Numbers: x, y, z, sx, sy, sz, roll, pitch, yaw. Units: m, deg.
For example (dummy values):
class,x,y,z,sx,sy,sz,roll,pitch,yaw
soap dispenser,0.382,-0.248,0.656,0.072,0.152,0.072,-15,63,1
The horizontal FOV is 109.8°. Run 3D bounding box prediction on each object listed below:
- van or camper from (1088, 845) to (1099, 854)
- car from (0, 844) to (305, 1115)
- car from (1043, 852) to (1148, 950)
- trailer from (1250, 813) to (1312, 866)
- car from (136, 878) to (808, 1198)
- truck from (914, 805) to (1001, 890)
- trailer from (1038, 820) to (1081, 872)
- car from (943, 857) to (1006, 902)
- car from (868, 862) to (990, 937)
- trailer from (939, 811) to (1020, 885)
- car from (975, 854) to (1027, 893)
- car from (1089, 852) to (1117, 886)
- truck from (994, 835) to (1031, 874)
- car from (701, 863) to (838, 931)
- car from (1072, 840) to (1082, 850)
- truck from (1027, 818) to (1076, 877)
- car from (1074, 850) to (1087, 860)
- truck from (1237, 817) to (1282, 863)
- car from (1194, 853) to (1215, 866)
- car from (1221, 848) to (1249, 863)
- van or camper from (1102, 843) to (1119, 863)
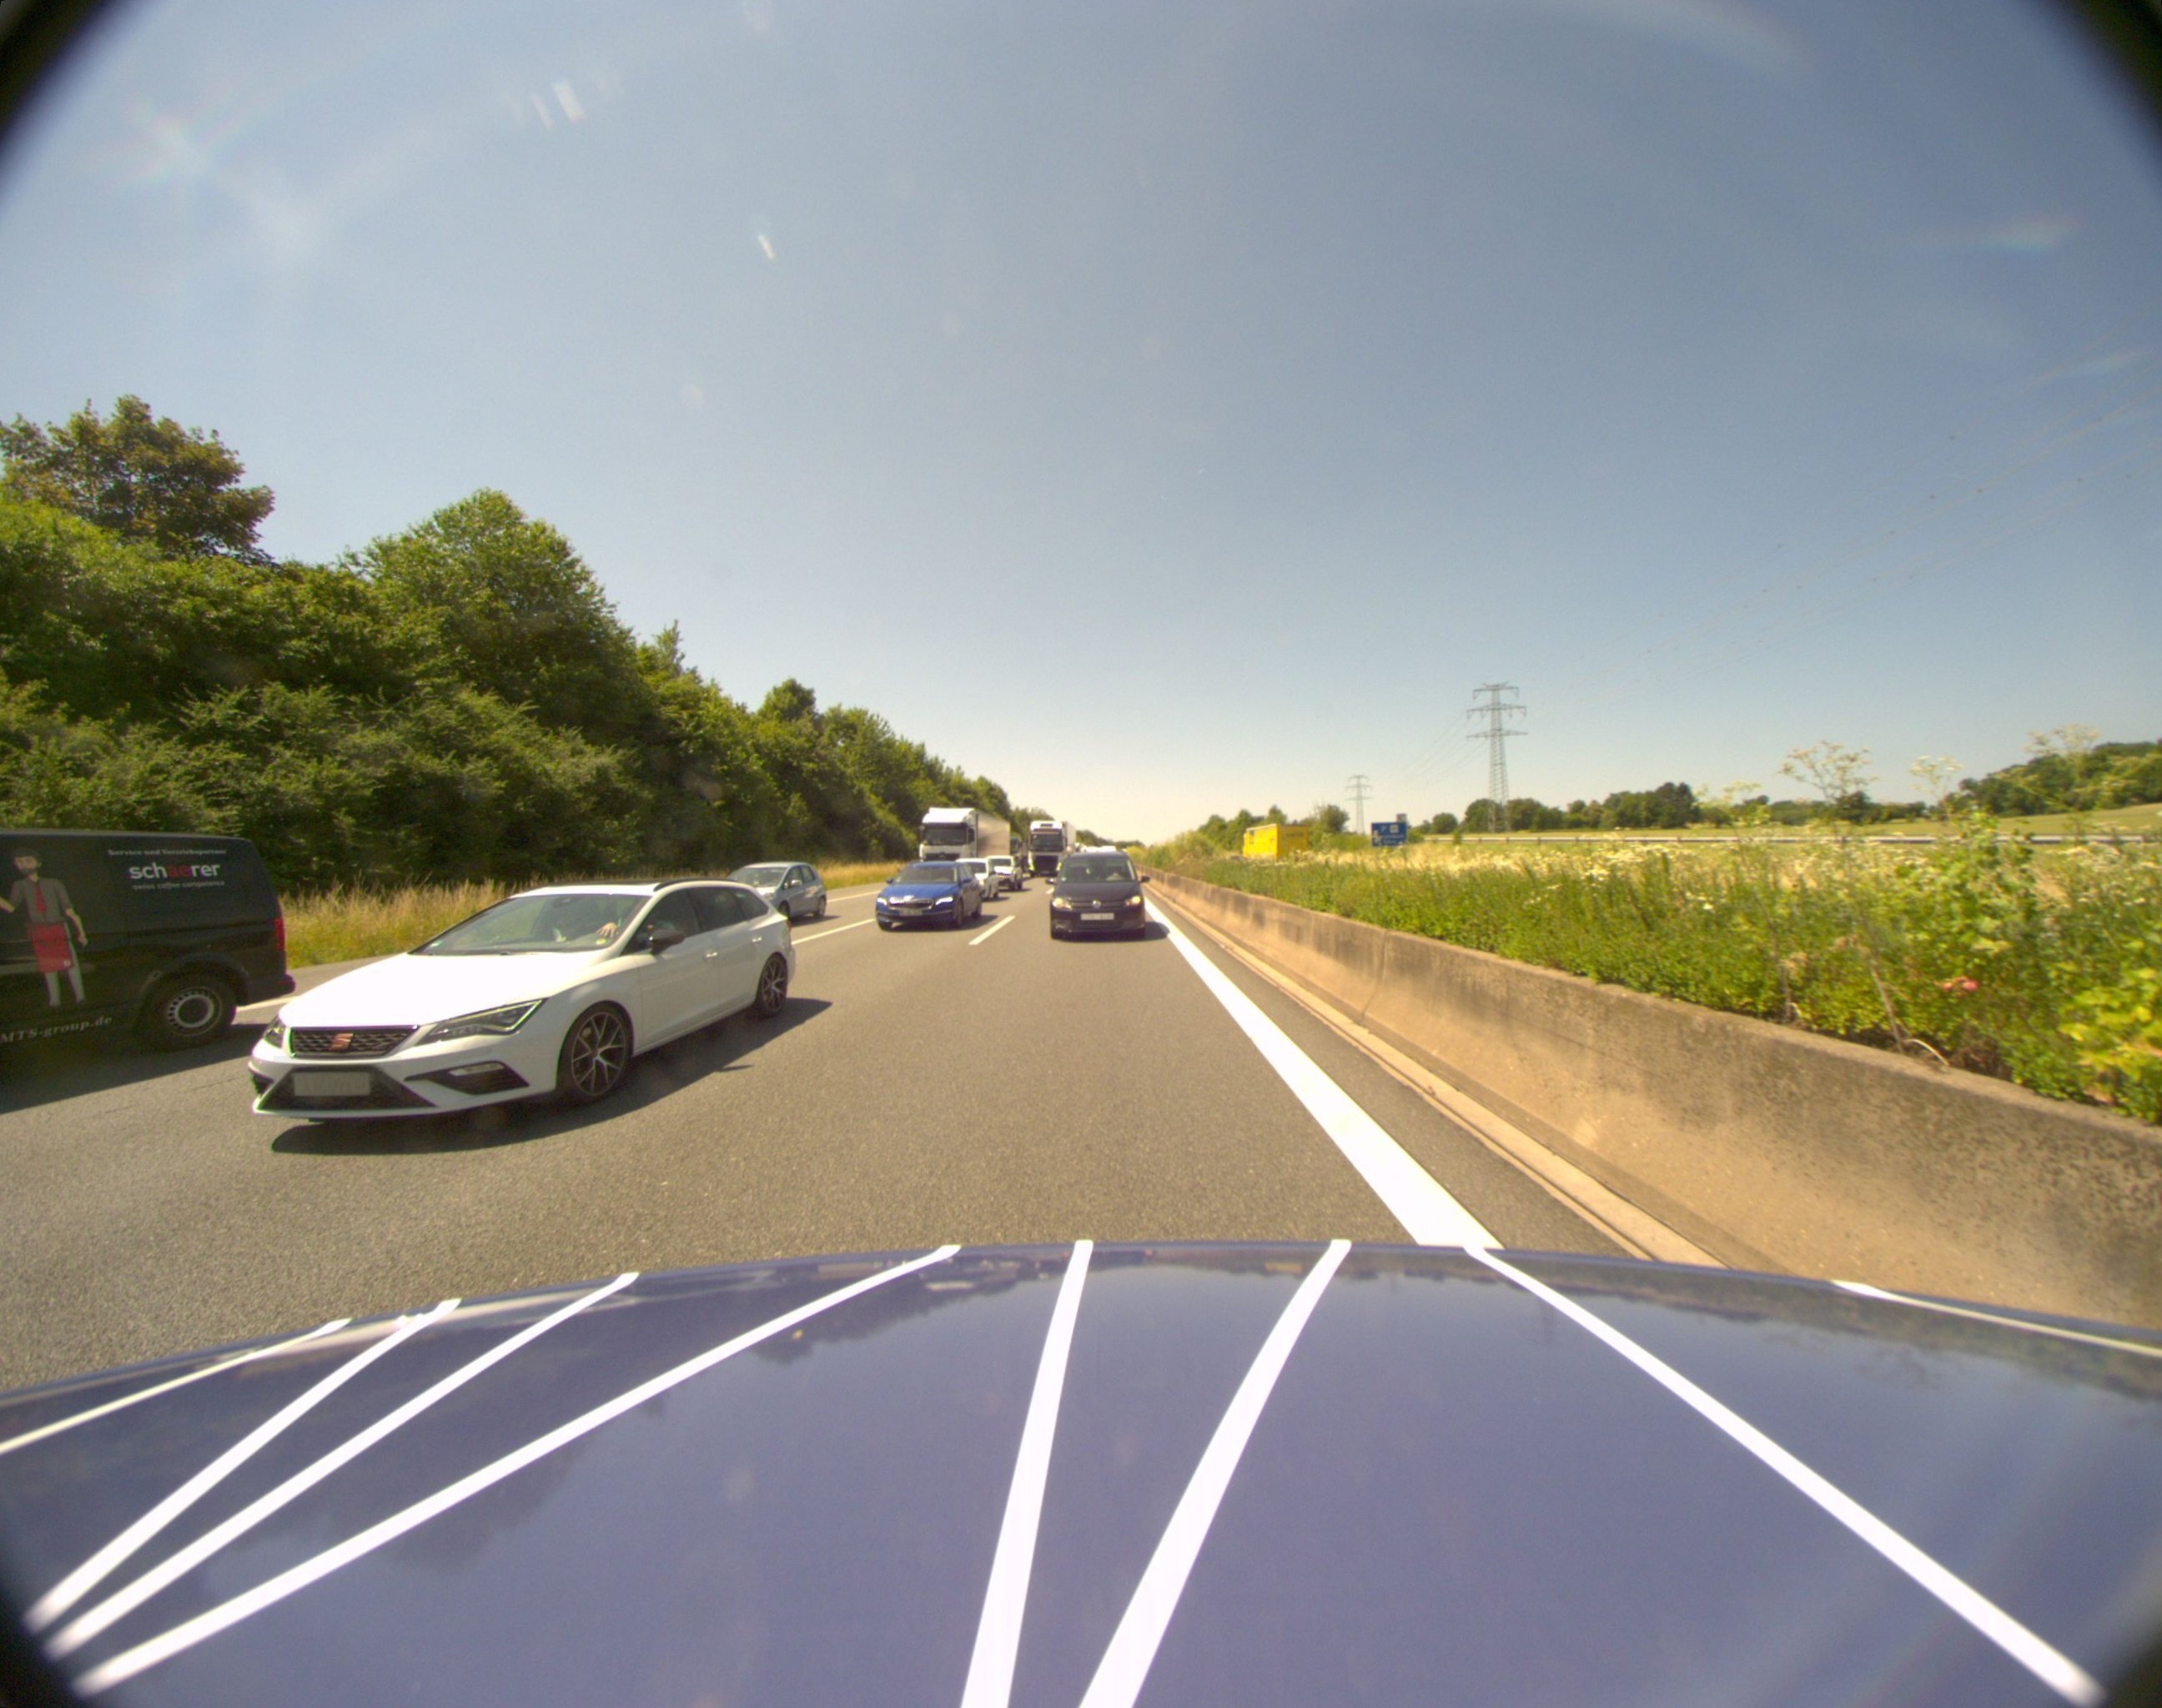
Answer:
class,x,y,z,sx,sy,sz,roll,pitch,yaw
van or camper,2.691,-0.959,163.837,2.189,2.018,4.364,-2,1,3
car,-8.716,0.924,5.072,1.918,1.929,4.856,-1,1,2
car,0.346,0.800,15.602,1.758,1.571,5.291,-1,1,2
trailer,17.349,-1.256,66.773,2.828,4.182,10.685,-3,1,2
car,-3.926,1.028,6.079,1.752,1.435,4.313,-1,1,2
truck,-6.593,-0.372,42.042,2.879,4.133,8.476,-2,1,3
trailer,-1.665,-0.652,63.713,2.776,3.951,9.156,-2,1,3
car,-3.740,0.860,27.254,1.609,1.426,3.809,0,1,1
car,-3.404,0.972,17.915,1.780,1.408,4.572,0,1,2
trailer,-6.239,-0.415,49.017,2.879,4.132,12.076,-2,1,3
car,-3.484,0.834,33.649,1.748,1.549,3.884,0,1,2
car,1.196,0.780,40.975,1.357,1.630,2.994,-3,1,3
truck,-5.854,0.022,65.240,2.299,3.128,5.675,-2,1,3
car,-7.612,0.992,19.014,1.666,1.453,3.922,0,0,2
car,-0.800,-1.870,158.765,1.998,2.002,4.000,-2,1,2
truck,-2.041,-0.497,56.273,2.750,3.972,8.361,-2,1,3
car,-0.074,0.134,104.208,1.650,1.336,3.381,-2,1,3
truck,17.590,-1.362,75.434,2.785,4.212,7.324,-3,1,2
car,14.504,0.645,89.321,1.874,1.457,4.099,-2,0,2
car,12.996,0.106,64.341,1.679,1.124,3.342,-2,1,1
van or camper,3.759,-0.094,96.223,1.956,2.368,4.037,-3,1,3
